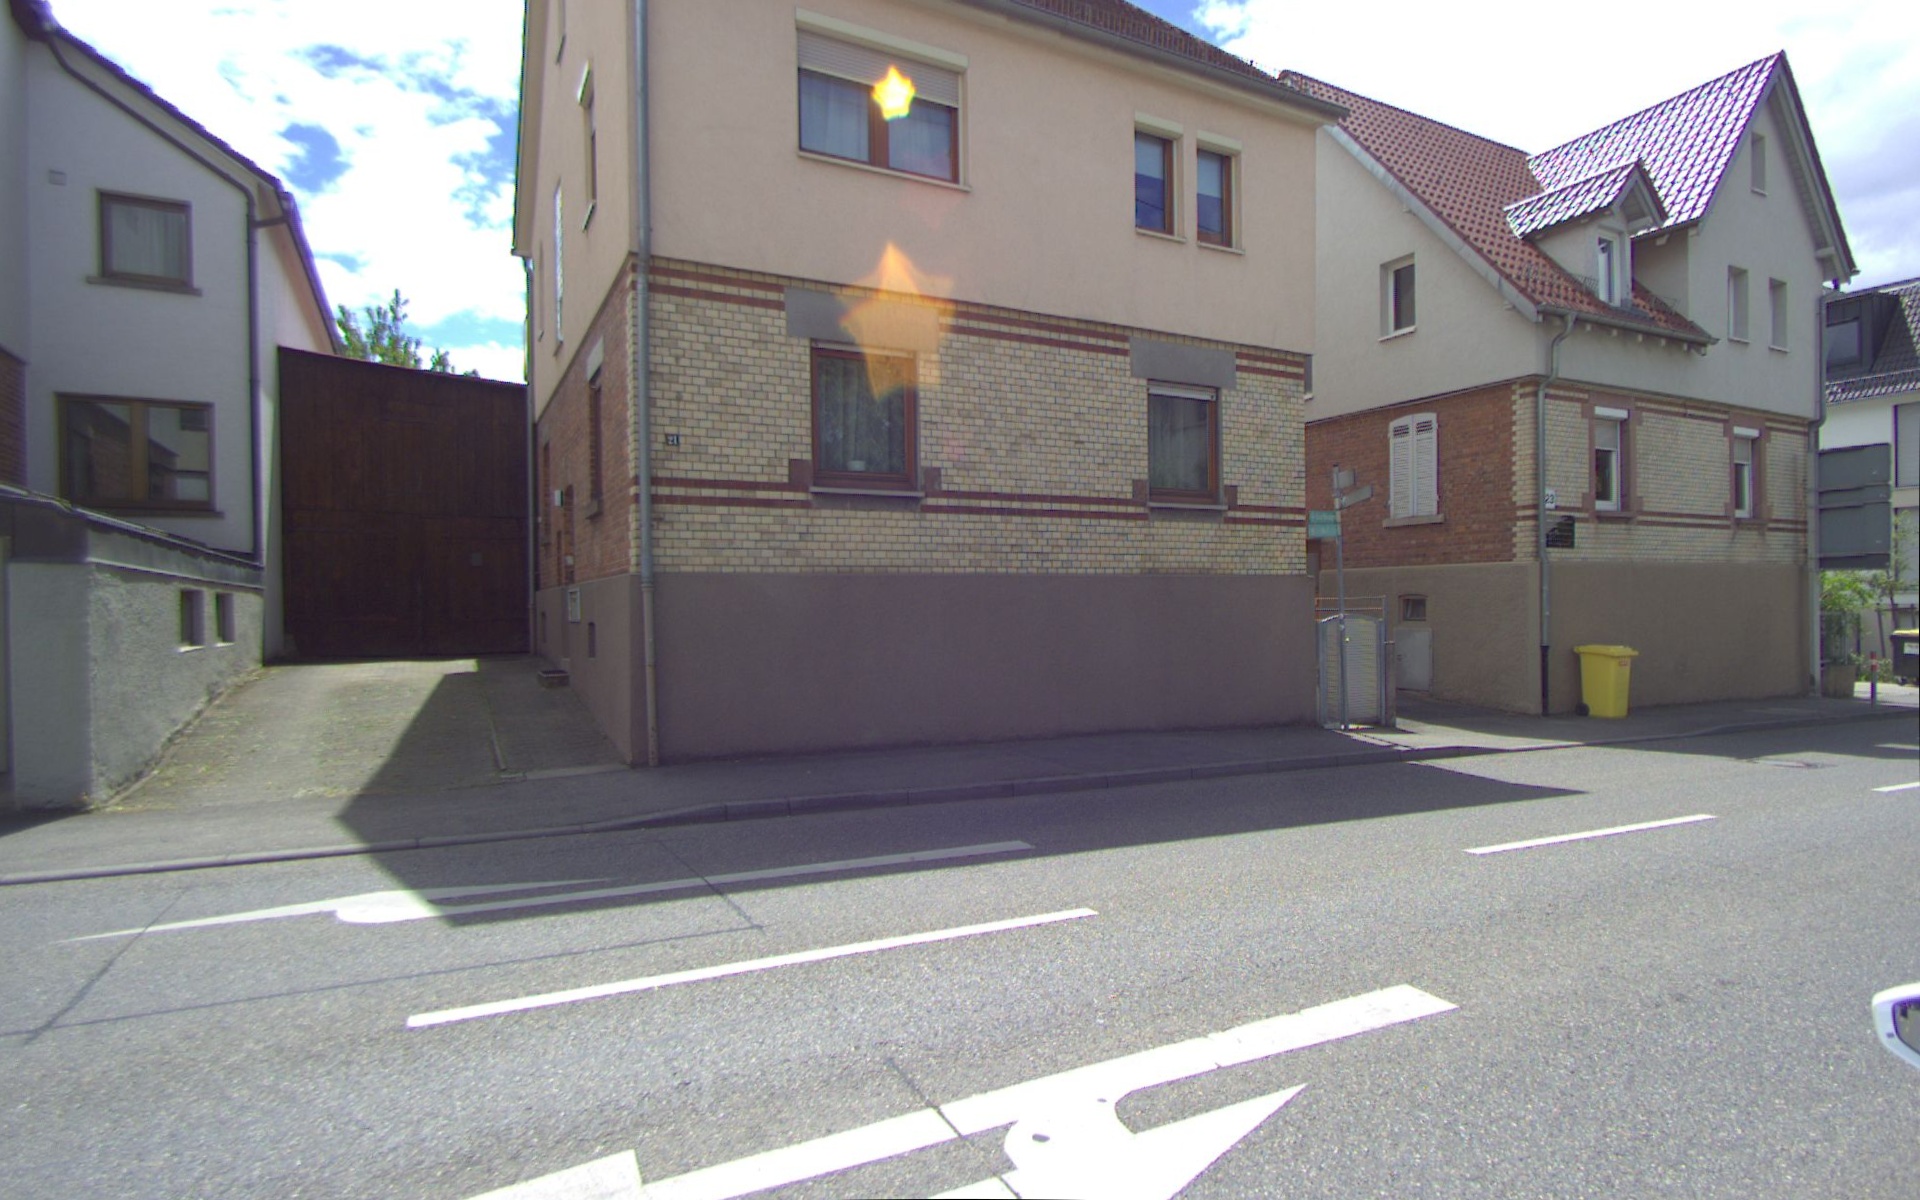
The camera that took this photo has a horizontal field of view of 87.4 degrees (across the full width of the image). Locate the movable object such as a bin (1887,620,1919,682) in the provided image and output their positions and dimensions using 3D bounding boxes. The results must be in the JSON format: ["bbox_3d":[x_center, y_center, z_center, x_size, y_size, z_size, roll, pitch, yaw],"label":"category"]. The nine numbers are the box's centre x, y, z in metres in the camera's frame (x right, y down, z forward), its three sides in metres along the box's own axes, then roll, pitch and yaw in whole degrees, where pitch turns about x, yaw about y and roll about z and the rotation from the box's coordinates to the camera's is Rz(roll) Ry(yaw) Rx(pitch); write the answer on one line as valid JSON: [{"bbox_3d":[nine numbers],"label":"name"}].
[{"bbox_3d":[23.458,1.238,24.267,1.158,1.465,1.327,1,-1,-33],"label":"movable object such as a bin"}]

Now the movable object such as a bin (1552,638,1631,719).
[{"bbox_3d":[9.713,1.189,15.467,0.793,1.177,0.761,1,-1,-31],"label":"movable object such as a bin"}]
